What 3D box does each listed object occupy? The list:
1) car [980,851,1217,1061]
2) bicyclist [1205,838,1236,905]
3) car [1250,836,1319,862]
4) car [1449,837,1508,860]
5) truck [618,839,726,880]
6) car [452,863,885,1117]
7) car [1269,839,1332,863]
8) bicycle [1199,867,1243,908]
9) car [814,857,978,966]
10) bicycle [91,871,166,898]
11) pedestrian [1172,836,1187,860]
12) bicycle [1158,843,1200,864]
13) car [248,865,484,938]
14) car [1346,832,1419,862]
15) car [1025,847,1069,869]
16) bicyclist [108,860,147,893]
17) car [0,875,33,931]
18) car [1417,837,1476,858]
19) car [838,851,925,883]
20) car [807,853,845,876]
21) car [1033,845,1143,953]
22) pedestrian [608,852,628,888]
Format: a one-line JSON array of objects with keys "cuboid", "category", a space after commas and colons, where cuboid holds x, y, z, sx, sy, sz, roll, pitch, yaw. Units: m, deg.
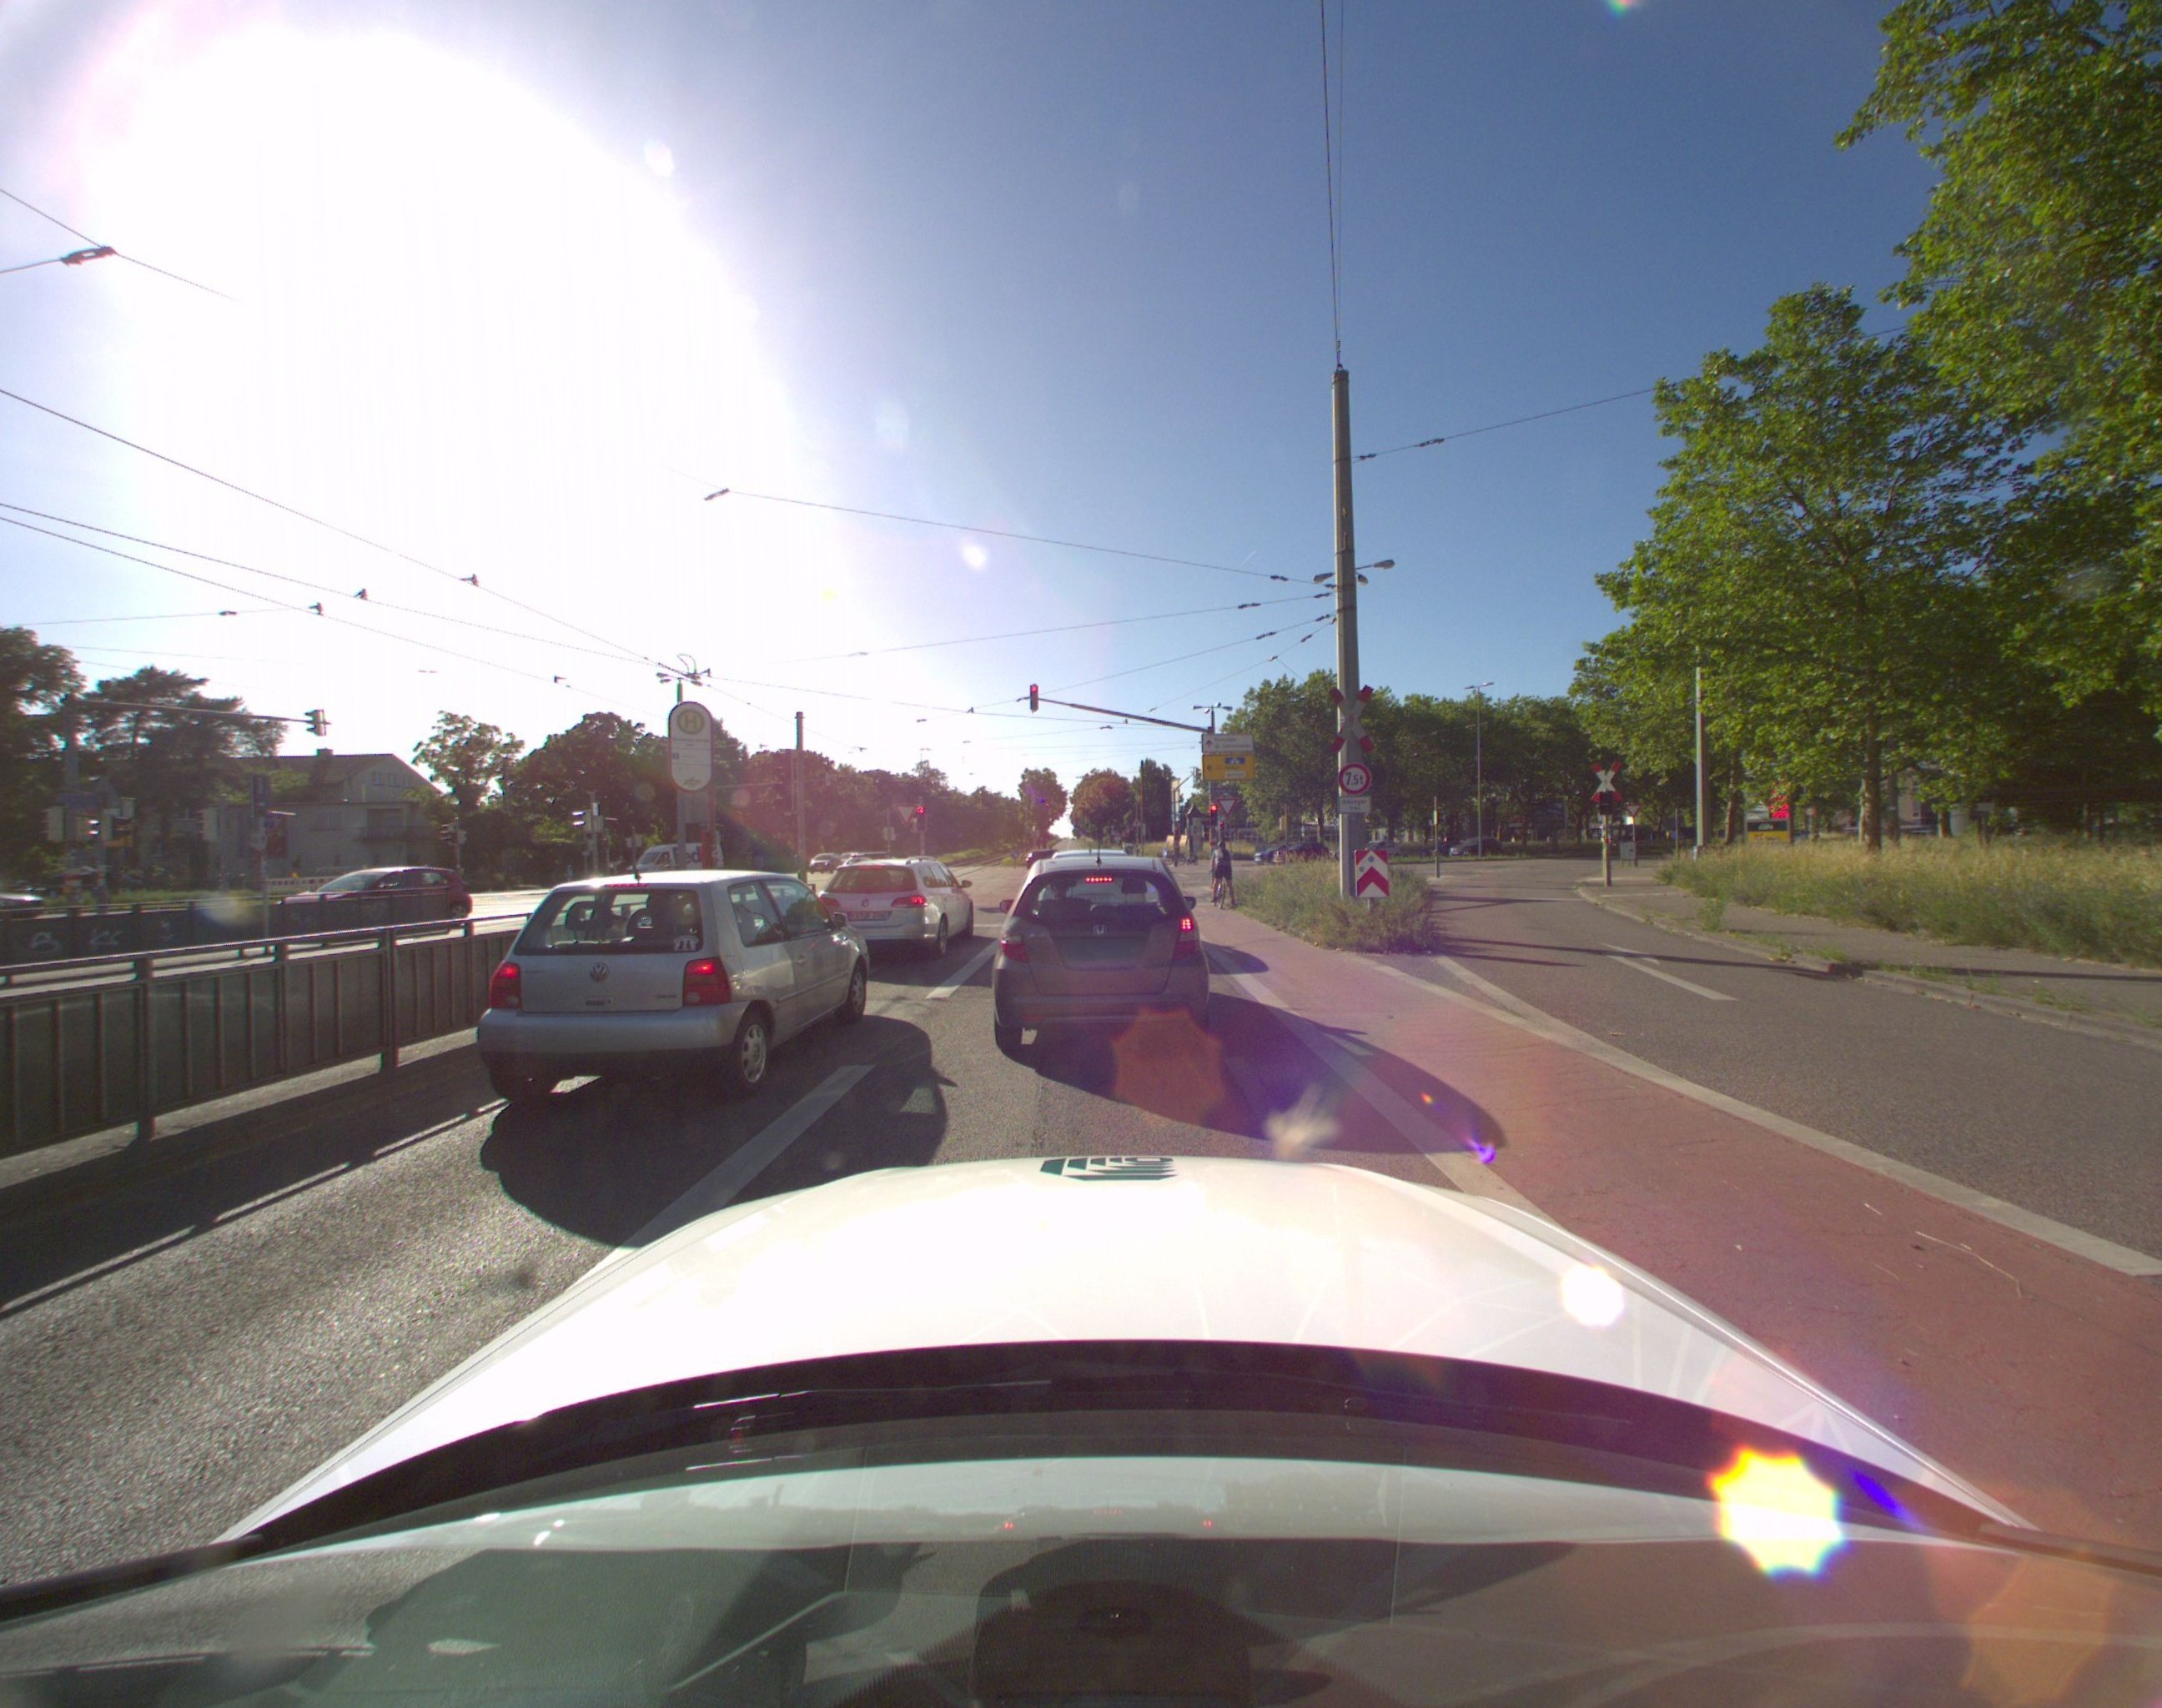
[{"cuboid": [0.116, 0.720, 7.594, 1.663, 1.462, 3.585, -1, 0, -1], "category": "car"}, {"cuboid": [3.639, 0.440, 21.327, 0.663, 1.716, 0.948, 0, -1, 1], "category": "bicyclist"}, {"cuboid": [15.039, -0.369, 60.184, 4.705, 1.879, 1.986, 0, -1, -22], "category": "car"}, {"cuboid": [28.402, -0.379, 58.217, 3.988, 1.544, 1.580, -2, 0, -23], "category": "car"}, {"cuboid": [-27.501, 0.335, 55.127, 1.976, 2.565, 6.860, -1, 0, 22], "category": "truck"}, {"cuboid": [-2.822, 0.812, 6.437, 1.613, 1.417, 3.352, -2, 0, 1], "category": "car"}, {"cuboid": [15.045, -0.226, 55.845, 4.002, 1.531, 1.594, -2, 0, -22], "category": "car"}, {"cuboid": [3.640, 0.846, 21.405, 0.719, 0.989, 2.876, 0, 0, 1], "category": "bicycle"}, {"cuboid": [-2.771, 0.787, 13.085, 1.613, 1.457, 4.086, -1, 0, 1], "category": "car"}, {"cuboid": [-48.792, 1.550, 41.752, 2.402, 1.263, 0.813, -1, 0, -17], "category": "bicycle"}, {"cuboid": [7.707, -0.500, 63.759, 0.855, 1.836, 0.785, -2, 0, -20], "category": "pedestrian"}, {"cuboid": [7.683, -0.023, 63.781, 3.214, 1.574, 0.816, -2, 0, -19], "category": "bicycle"}, {"cuboid": [-16.450, 1.035, 19.038, 1.595, 1.402, 4.026, -2, 0, 8], "category": "car"}, {"cuboid": [21.967, -0.505, 59.349, 4.906, 2.013, 1.986, -2, 0, -22], "category": "car"}, {"cuboid": [-2.241, 0.266, 54.757, 1.509, 1.378, 3.696, -2, 0, 22], "category": "car"}, {"cuboid": [-48.851, 1.154, 41.739, 1.009, 1.647, 0.813, -1, 0, -17], "category": "bicyclist"}, {"cuboid": [-32.018, 1.427, 21.603, 4.844, 1.497, 1.771, -2, 0, -25], "category": "car"}, {"cuboid": [29.837, -0.569, 66.396, 4.526, 1.574, 1.681, -2, 0, -21], "category": "car"}, {"cuboid": [-10.262, 0.636, 41.989, 4.021, 1.478, 1.695, -2, 0, -41], "category": "car"}, {"cuboid": [-19.007, 0.759, 60.810, 1.829, 1.548, 3.993, -2, 0, -5], "category": "car"}, {"cuboid": [0.153, 0.666, 14.234, 1.605, 1.562, 4.289, -1, 0, 1], "category": "car"}, {"cuboid": [-26.524, 0.889, 46.656, 0.748, 2.013, 0.788, -2, 0, -11], "category": "pedestrian"}]
